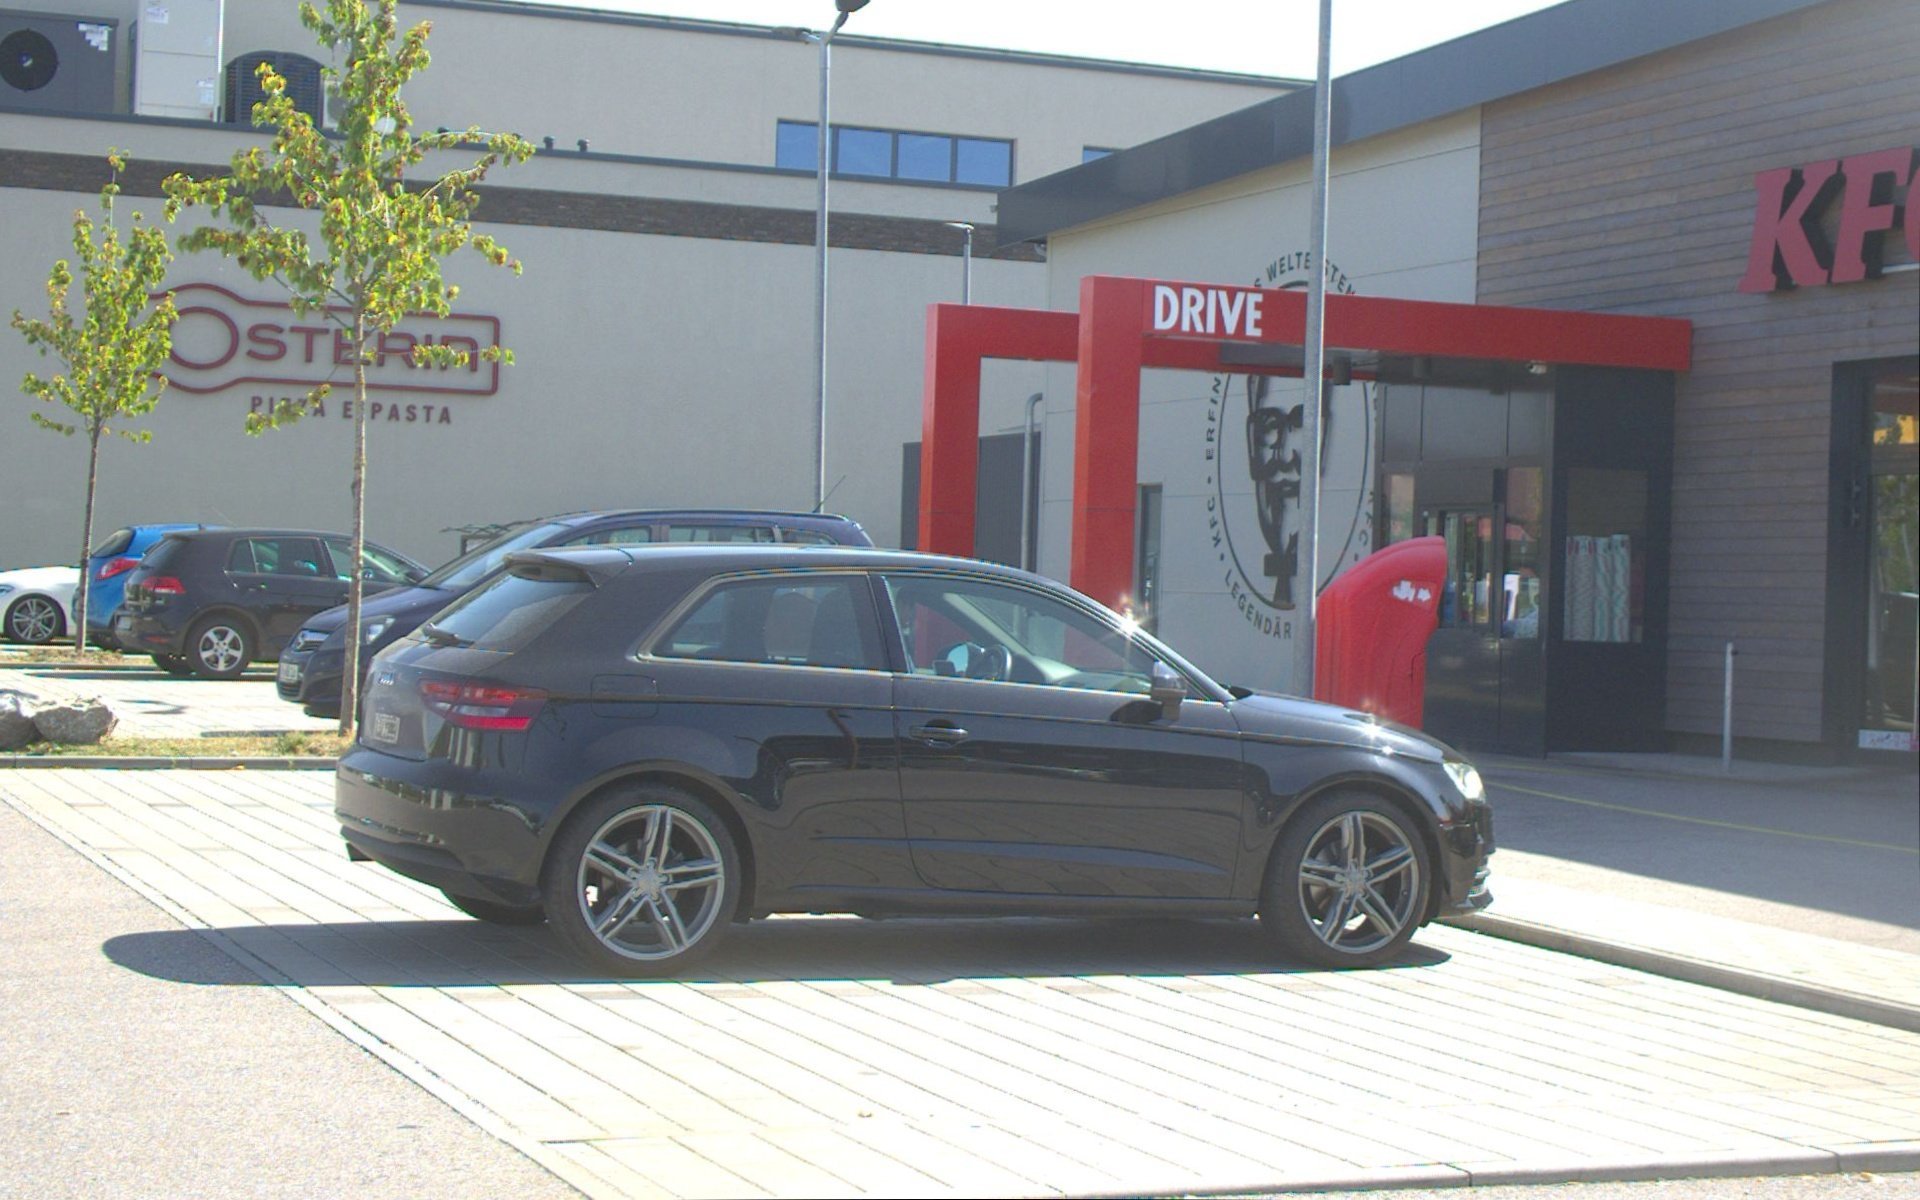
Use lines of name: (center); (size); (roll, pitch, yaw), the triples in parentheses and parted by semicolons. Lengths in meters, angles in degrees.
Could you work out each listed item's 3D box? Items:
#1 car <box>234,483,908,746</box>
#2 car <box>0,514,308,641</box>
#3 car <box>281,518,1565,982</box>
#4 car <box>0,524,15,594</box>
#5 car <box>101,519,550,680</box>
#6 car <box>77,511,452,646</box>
car: (-2.724, 0.111, 24.276); (4.369, 1.679, 1.642); (2, 1, -26)
car: (-10.241, -0.287, 42.423); (3.986, 1.415, 1.651); (2, 1, -25)
car: (-0.132, 0.519, 12.273); (4.199, 1.436, 1.699); (2, 1, -22)
car: (-17.942, -0.746, 57.290); (3.986, 1.152, 2.001); (1, 1, -23)
car: (-6.204, -0.001, 33.645); (3.986, 1.415, 1.651); (2, 1, -25)
car: (-8.152, -0.250, 40.302); (3.986, 1.415, 1.651); (2, 1, -25)
